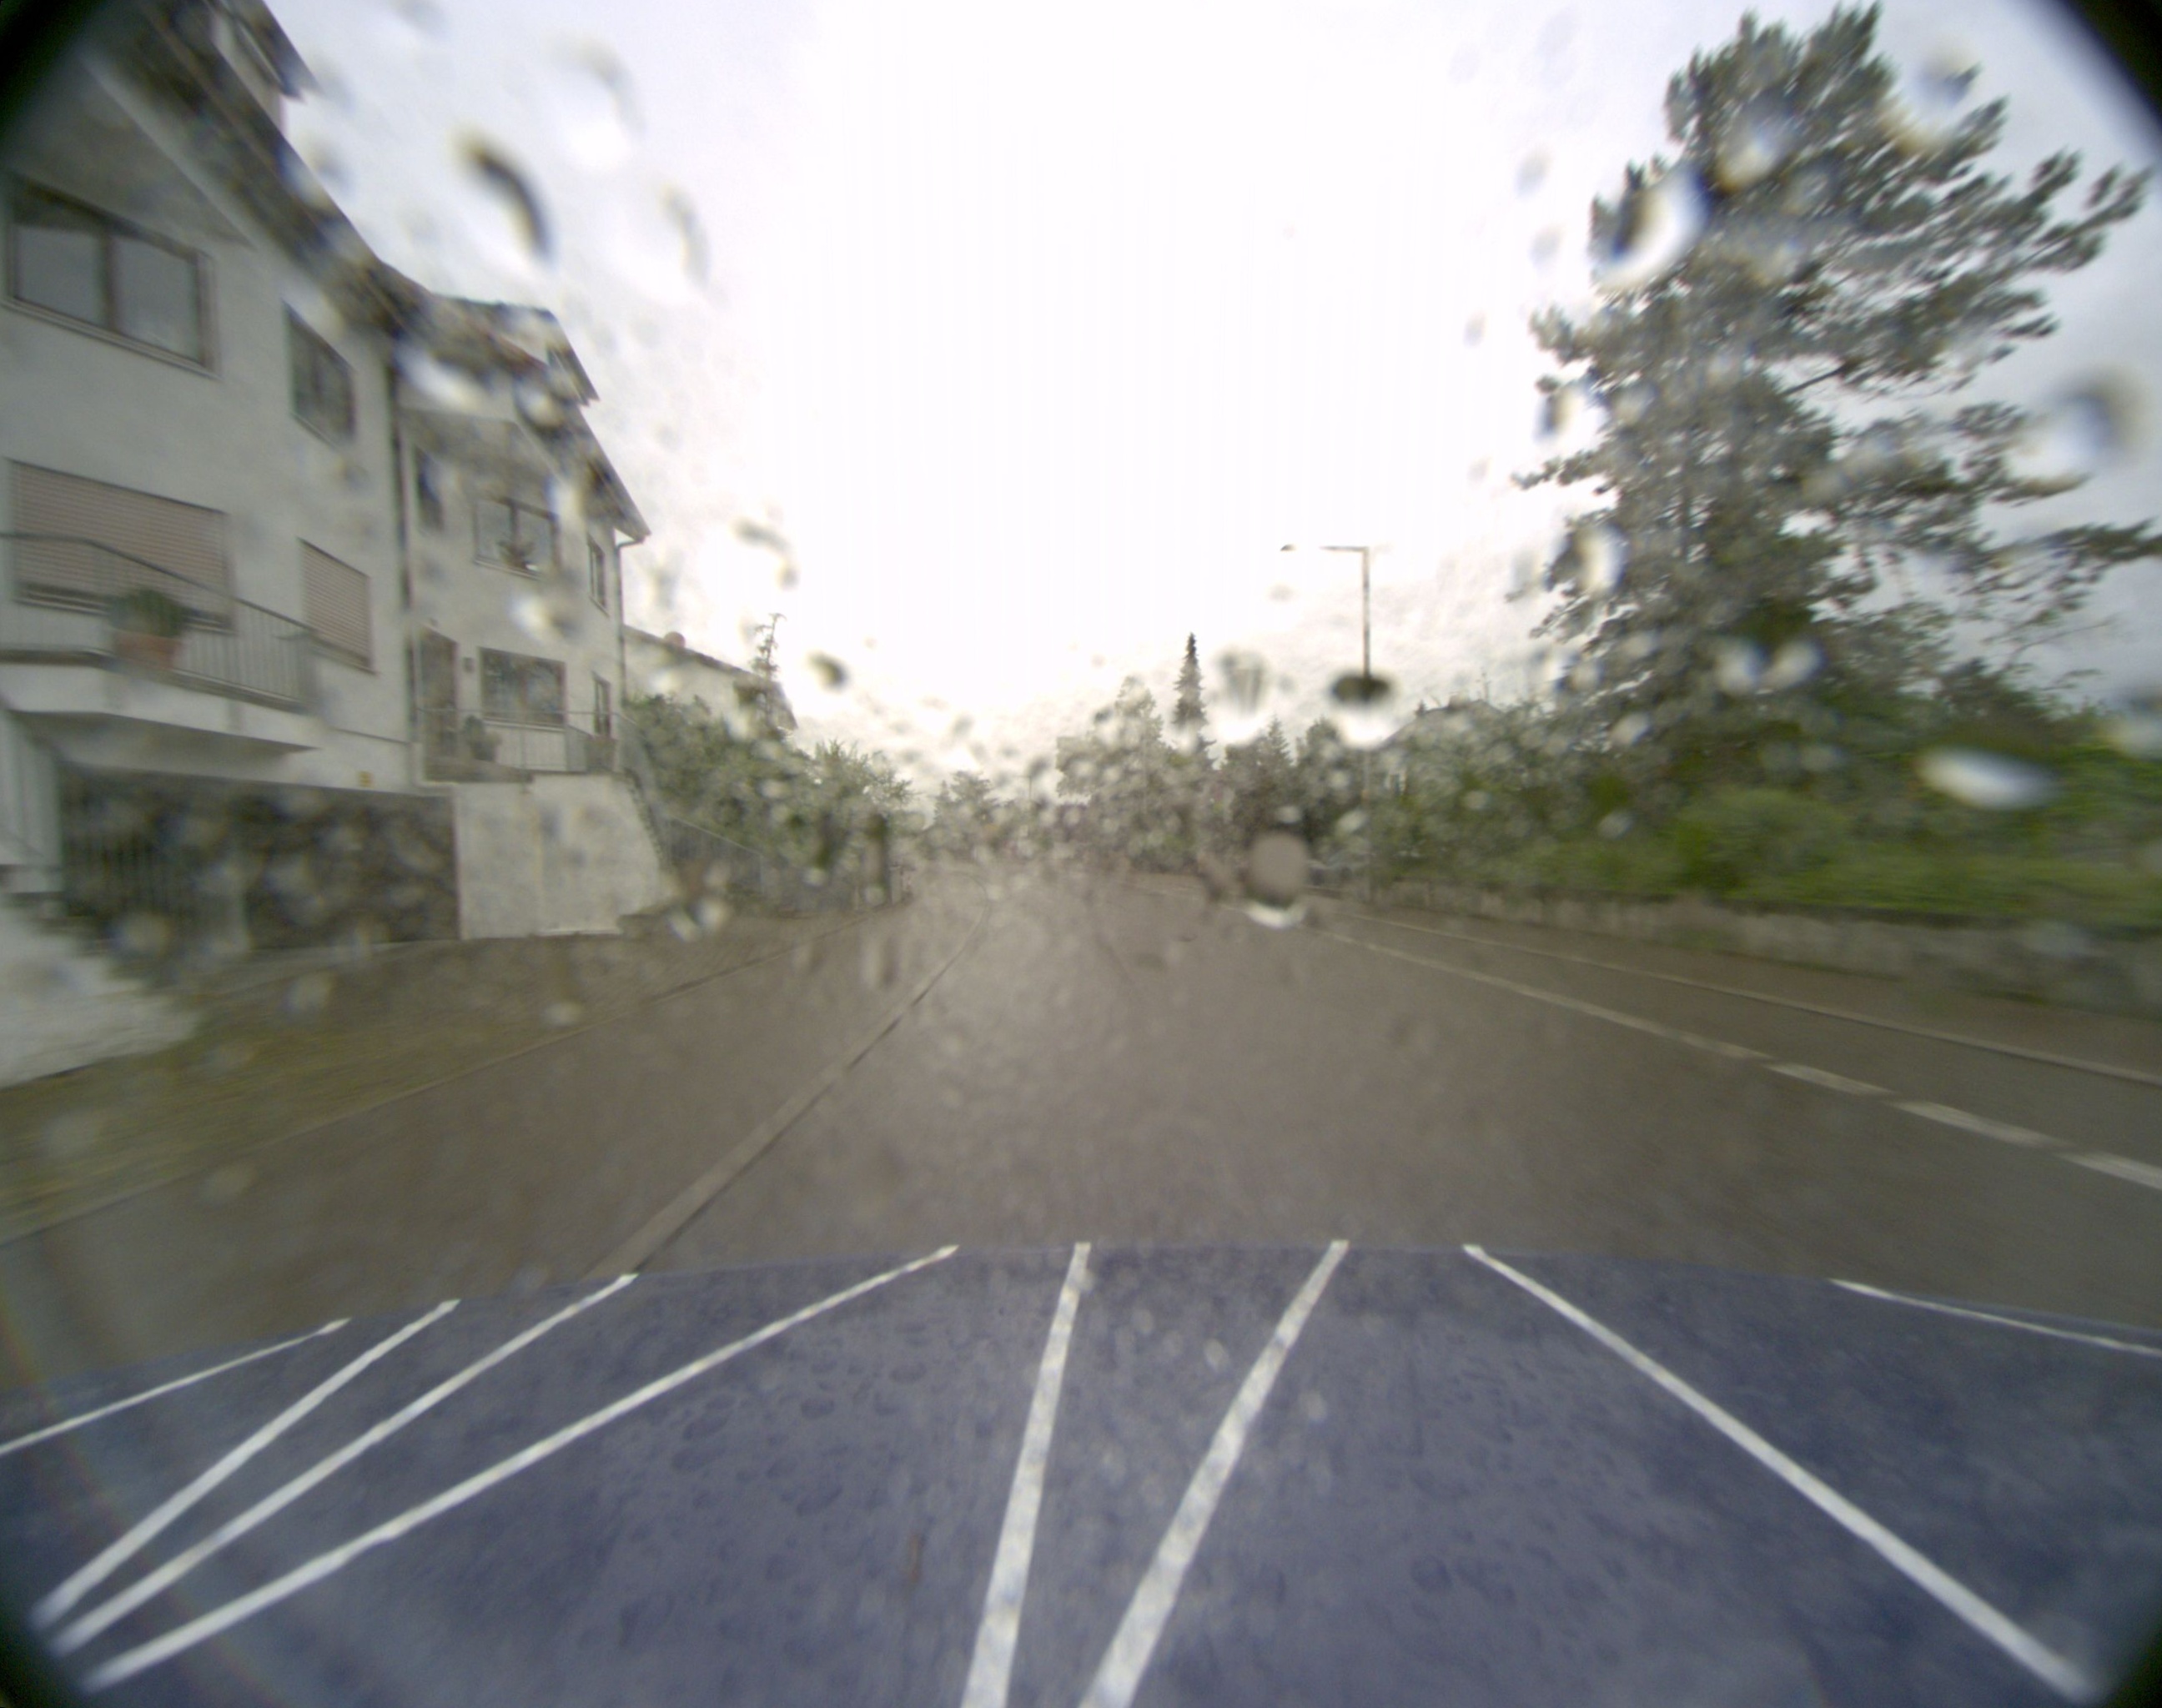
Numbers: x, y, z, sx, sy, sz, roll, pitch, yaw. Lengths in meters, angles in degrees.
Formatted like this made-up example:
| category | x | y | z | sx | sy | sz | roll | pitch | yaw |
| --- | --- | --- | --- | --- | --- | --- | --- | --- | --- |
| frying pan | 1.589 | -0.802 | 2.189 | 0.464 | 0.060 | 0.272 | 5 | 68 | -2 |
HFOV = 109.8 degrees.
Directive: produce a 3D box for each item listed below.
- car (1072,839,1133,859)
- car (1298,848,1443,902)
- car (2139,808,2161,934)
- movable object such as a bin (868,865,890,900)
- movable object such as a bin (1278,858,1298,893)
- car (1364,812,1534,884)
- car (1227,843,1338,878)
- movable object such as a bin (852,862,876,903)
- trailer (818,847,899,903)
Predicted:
| category | x | y | z | sx | sy | sz | roll | pitch | yaw |
| --- | --- | --- | --- | --- | --- | --- | --- | --- | --- |
| car | 1.766 | -0.402 | 62.257 | 4.559 | 1.467 | 1.836 | -3 | 2 | -20 |
| car | 7.920 | 0.509 | 21.297 | 1.999 | 1.300 | 4.430 | -1 | 1 | -6 |
| car | 13.873 | 0.234 | 7.481 | 1.996 | 1.565 | 4.004 | -1 | 1 | 17 |
| movable object such as a bin | -5.556 | 0.785 | 20.911 | 0.493 | 0.917 | 0.457 | -1 | 1 | -5 |
| movable object such as a bin | 5.977 | 0.620 | 21.976 | 0.371 | 0.982 | 0.558 | -1 | 1 | -8 |
| car | 10.583 | -0.203 | 22.460 | 1.999 | 1.833 | 5.474 | -2 | 1 | -5 |
| car | 8.161 | 0.237 | 31.008 | 3.997 | 1.264 | 1.873 | -2 | 1 | -1 |
| movable object such as a bin | -5.727 | 0.742 | 20.072 | 0.493 | 1.040 | 0.576 | -1 | 1 | -5 |
| trailer | -7.569 | 0.675 | 26.079 | 2.361 | 1.738 | 1.998 | -2 | 2 | -8 |
